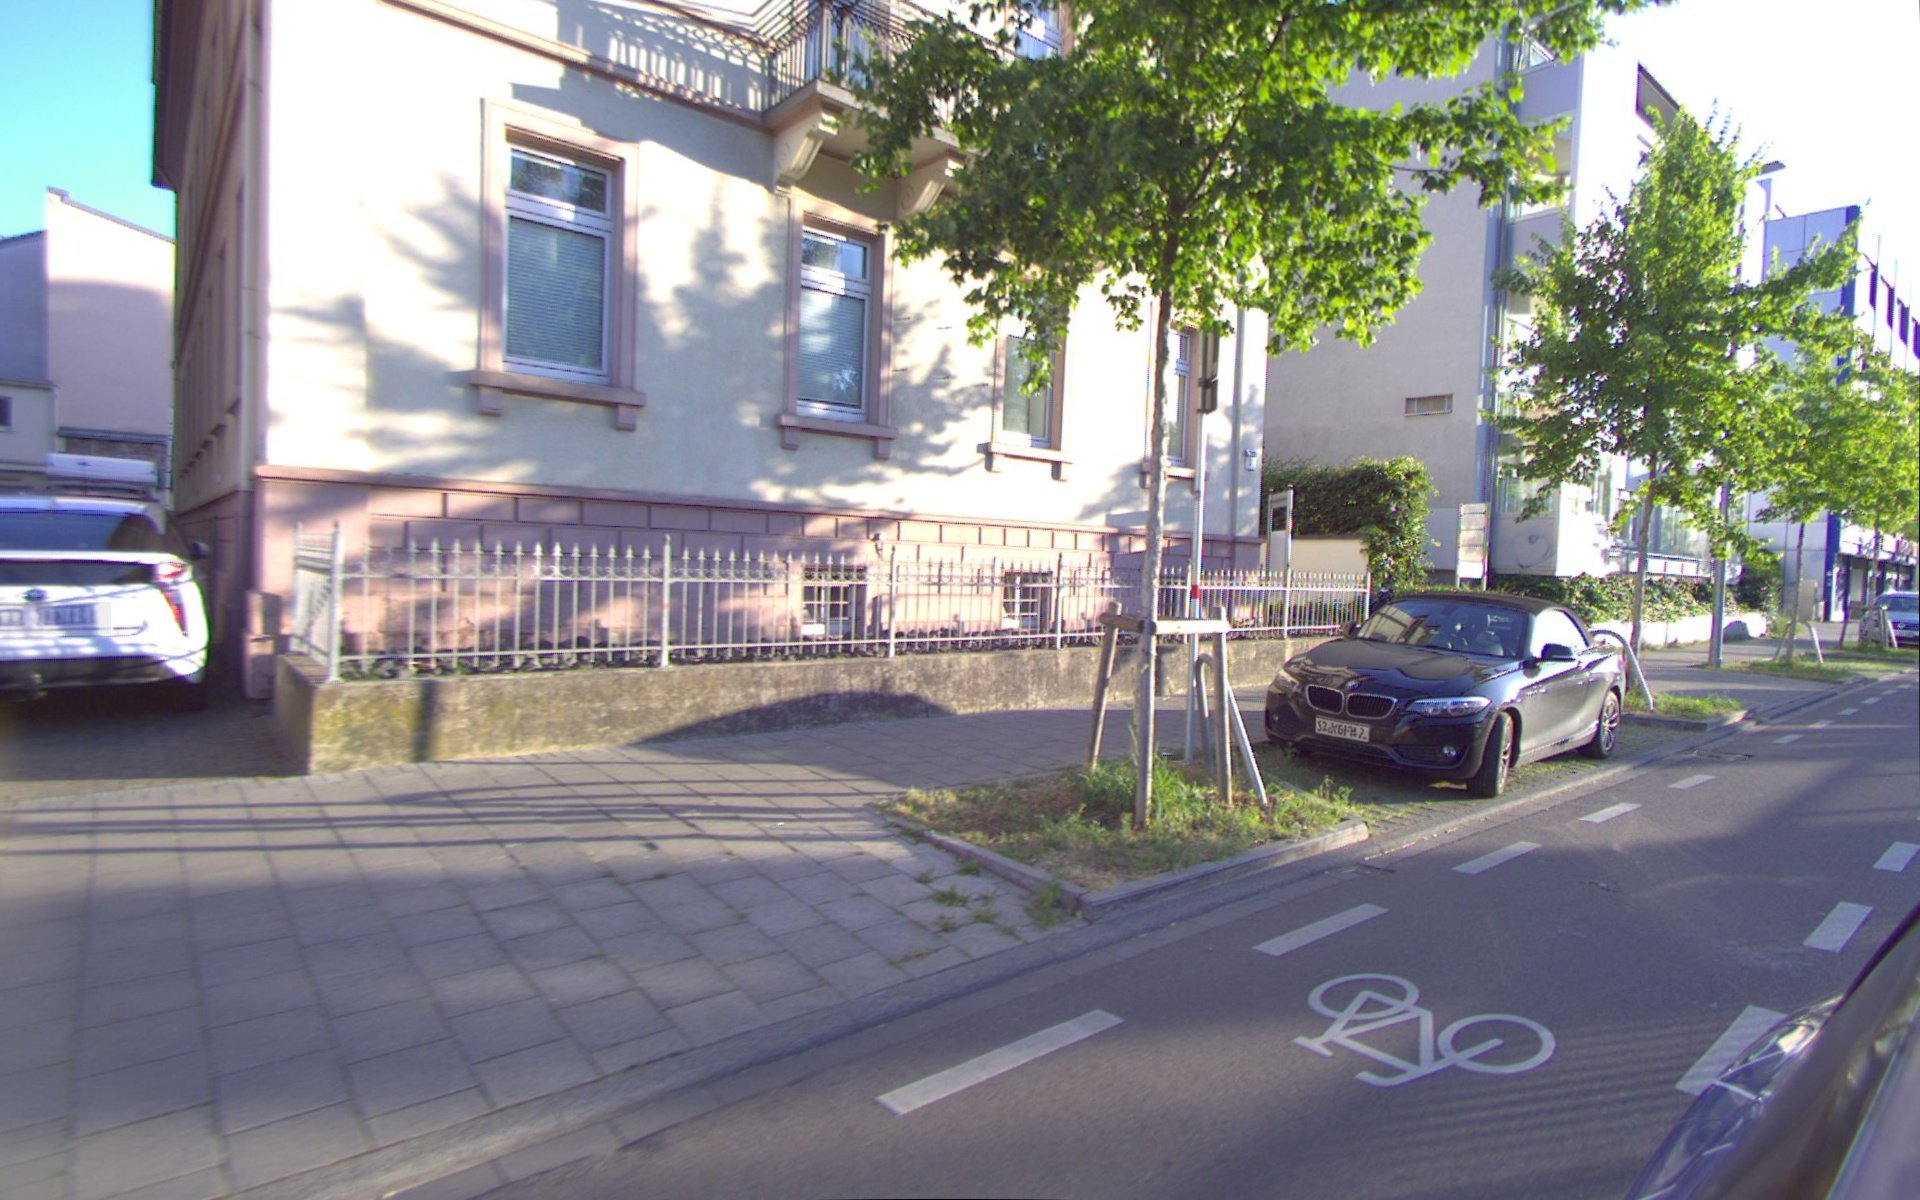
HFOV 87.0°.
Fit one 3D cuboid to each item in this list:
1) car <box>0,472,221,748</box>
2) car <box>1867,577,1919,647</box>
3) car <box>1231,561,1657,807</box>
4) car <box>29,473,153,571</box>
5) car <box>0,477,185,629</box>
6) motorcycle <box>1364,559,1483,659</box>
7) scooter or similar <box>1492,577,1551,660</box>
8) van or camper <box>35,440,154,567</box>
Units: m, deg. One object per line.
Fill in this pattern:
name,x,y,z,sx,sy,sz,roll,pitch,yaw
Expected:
car,-6.911,-0.123,7.787,1.881,1.589,4.211,0,6,-37
car,26.159,0.334,27.431,4.181,1.727,1.858,0,4,-43
car,4.352,0.517,8.742,4.371,1.488,1.796,0,5,-44
car,-18.552,-1.603,21.761,1.781,1.872,4.136,0,2,-37
car,-10.077,-0.596,11.856,1.470,1.501,3.559,0,4,-39
motorcycle,7.305,0.117,16.005,0.616,1.430,1.498,2,3,-44
scooter or similar,8.985,0.276,16.189,1.189,1.274,0.491,-1,2,-44
van or camper,-24.818,-2.620,29.097,2.371,3.203,6.216,0,2,-40
